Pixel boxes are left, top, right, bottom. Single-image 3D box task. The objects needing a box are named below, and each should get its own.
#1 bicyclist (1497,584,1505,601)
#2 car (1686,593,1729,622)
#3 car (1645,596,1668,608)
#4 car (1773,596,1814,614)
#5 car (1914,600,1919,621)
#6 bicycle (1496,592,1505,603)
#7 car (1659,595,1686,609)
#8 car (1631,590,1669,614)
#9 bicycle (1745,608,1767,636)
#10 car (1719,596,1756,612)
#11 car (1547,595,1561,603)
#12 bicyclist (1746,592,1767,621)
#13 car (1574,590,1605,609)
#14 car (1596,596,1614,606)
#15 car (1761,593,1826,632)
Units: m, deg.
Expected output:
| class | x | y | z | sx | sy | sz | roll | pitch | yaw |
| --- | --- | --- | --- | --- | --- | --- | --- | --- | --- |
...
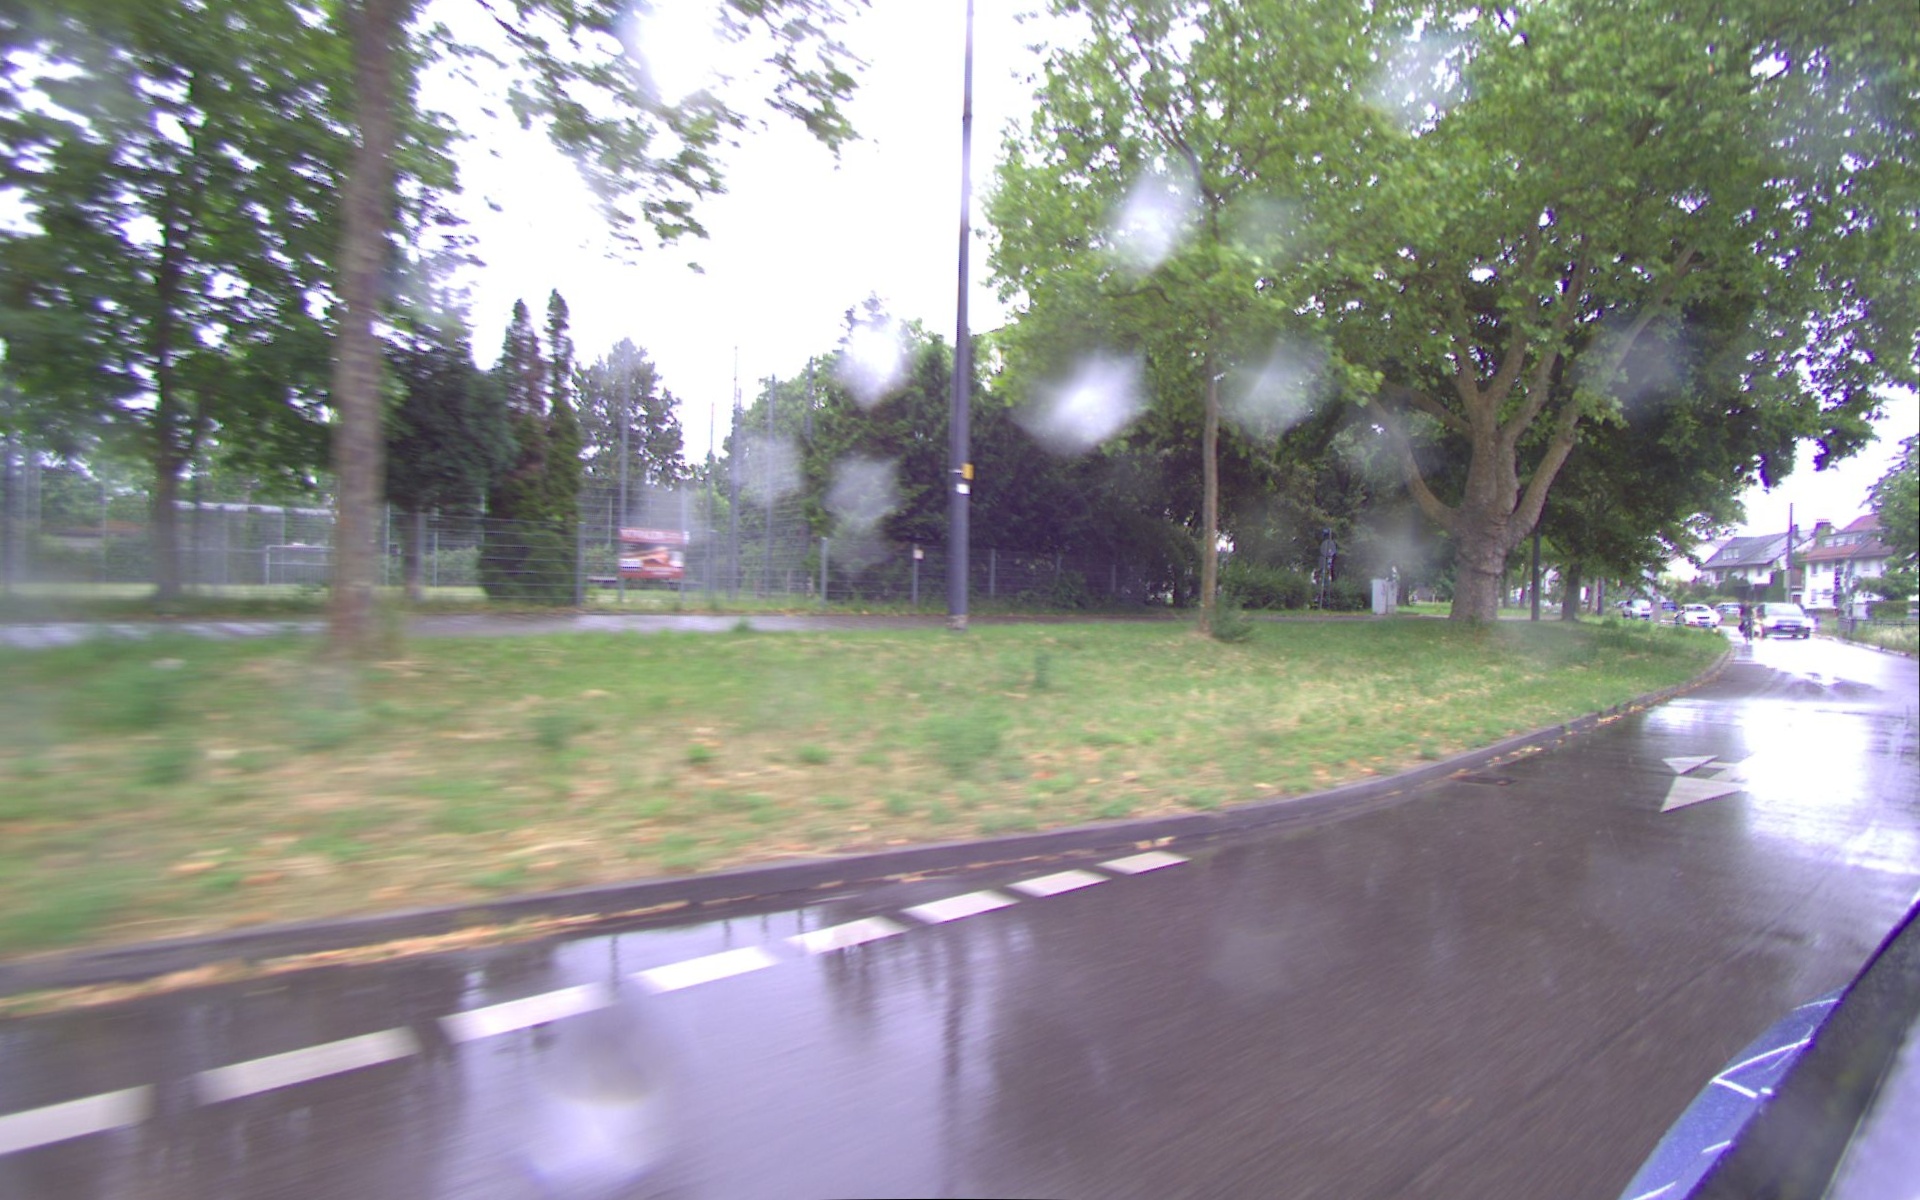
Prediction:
| class | x | y | z | sx | sy | sz | roll | pitch | yaw |
| --- | --- | --- | --- | --- | --- | --- | --- | --- | --- |
| bicyclist | 56.906 | -0.761 | 106.459 | 0.708 | 1.742 | 0.946 | 1 | 2 | 32 |
| car | 47.429 | 0.473 | 64.284 | 1.754 | 1.746 | 3.893 | 1 | 1 | 30 |
| car | 93.529 | 0.226 | 135.900 | 1.698 | 1.548 | 3.576 | -2 | 0 | 21 |
| car | 77.794 | 0.449 | 94.513 | 1.826 | 1.566 | 3.942 | -1 | 0 | 23 |
| car | 74.703 | 0.860 | 76.007 | 3.953 | 1.596 | 1.879 | 2 | 1 | 22 |
| bicycle | 56.909 | -0.280 | 106.480 | 0.708 | 1.156 | 1.950 | 1 | 2 | 32 |
| car | 90.965 | 0.263 | 129.276 | 1.827 | 1.727 | 4.154 | 0 | 0 | 20 |
| car | 55.876 | 0.129 | 82.016 | 1.749 | 1.746 | 3.905 | 2 | 2 | 23 |
| bicycle | 31.719 | 0.844 | 40.311 | 0.656 | 1.026 | 2.225 | 2 | 2 | 39 |
| car | 82.387 | 0.398 | 107.303 | 1.977 | 1.634 | 4.648 | 0 | 0 | 23 |
| car | 114.271 | -0.191 | 194.681 | 1.739 | 1.535 | 3.826 | -1 | 0 | 22 |
| bicyclist | 31.765 | 0.248 | 40.342 | 0.619 | 1.098 | 0.616 | 2 | 2 | 39 |
| car | 62.247 | -0.070 | 100.060 | 1.746 | 1.746 | 3.909 | 2 | 2 | 20 |
| car | 103.715 | 0.188 | 162.822 | 1.739 | 1.535 | 3.826 | -1 | 0 | 22 |
| car | 39.647 | 0.572 | 48.233 | 1.754 | 1.747 | 3.891 | -1 | -1 | 31 |
